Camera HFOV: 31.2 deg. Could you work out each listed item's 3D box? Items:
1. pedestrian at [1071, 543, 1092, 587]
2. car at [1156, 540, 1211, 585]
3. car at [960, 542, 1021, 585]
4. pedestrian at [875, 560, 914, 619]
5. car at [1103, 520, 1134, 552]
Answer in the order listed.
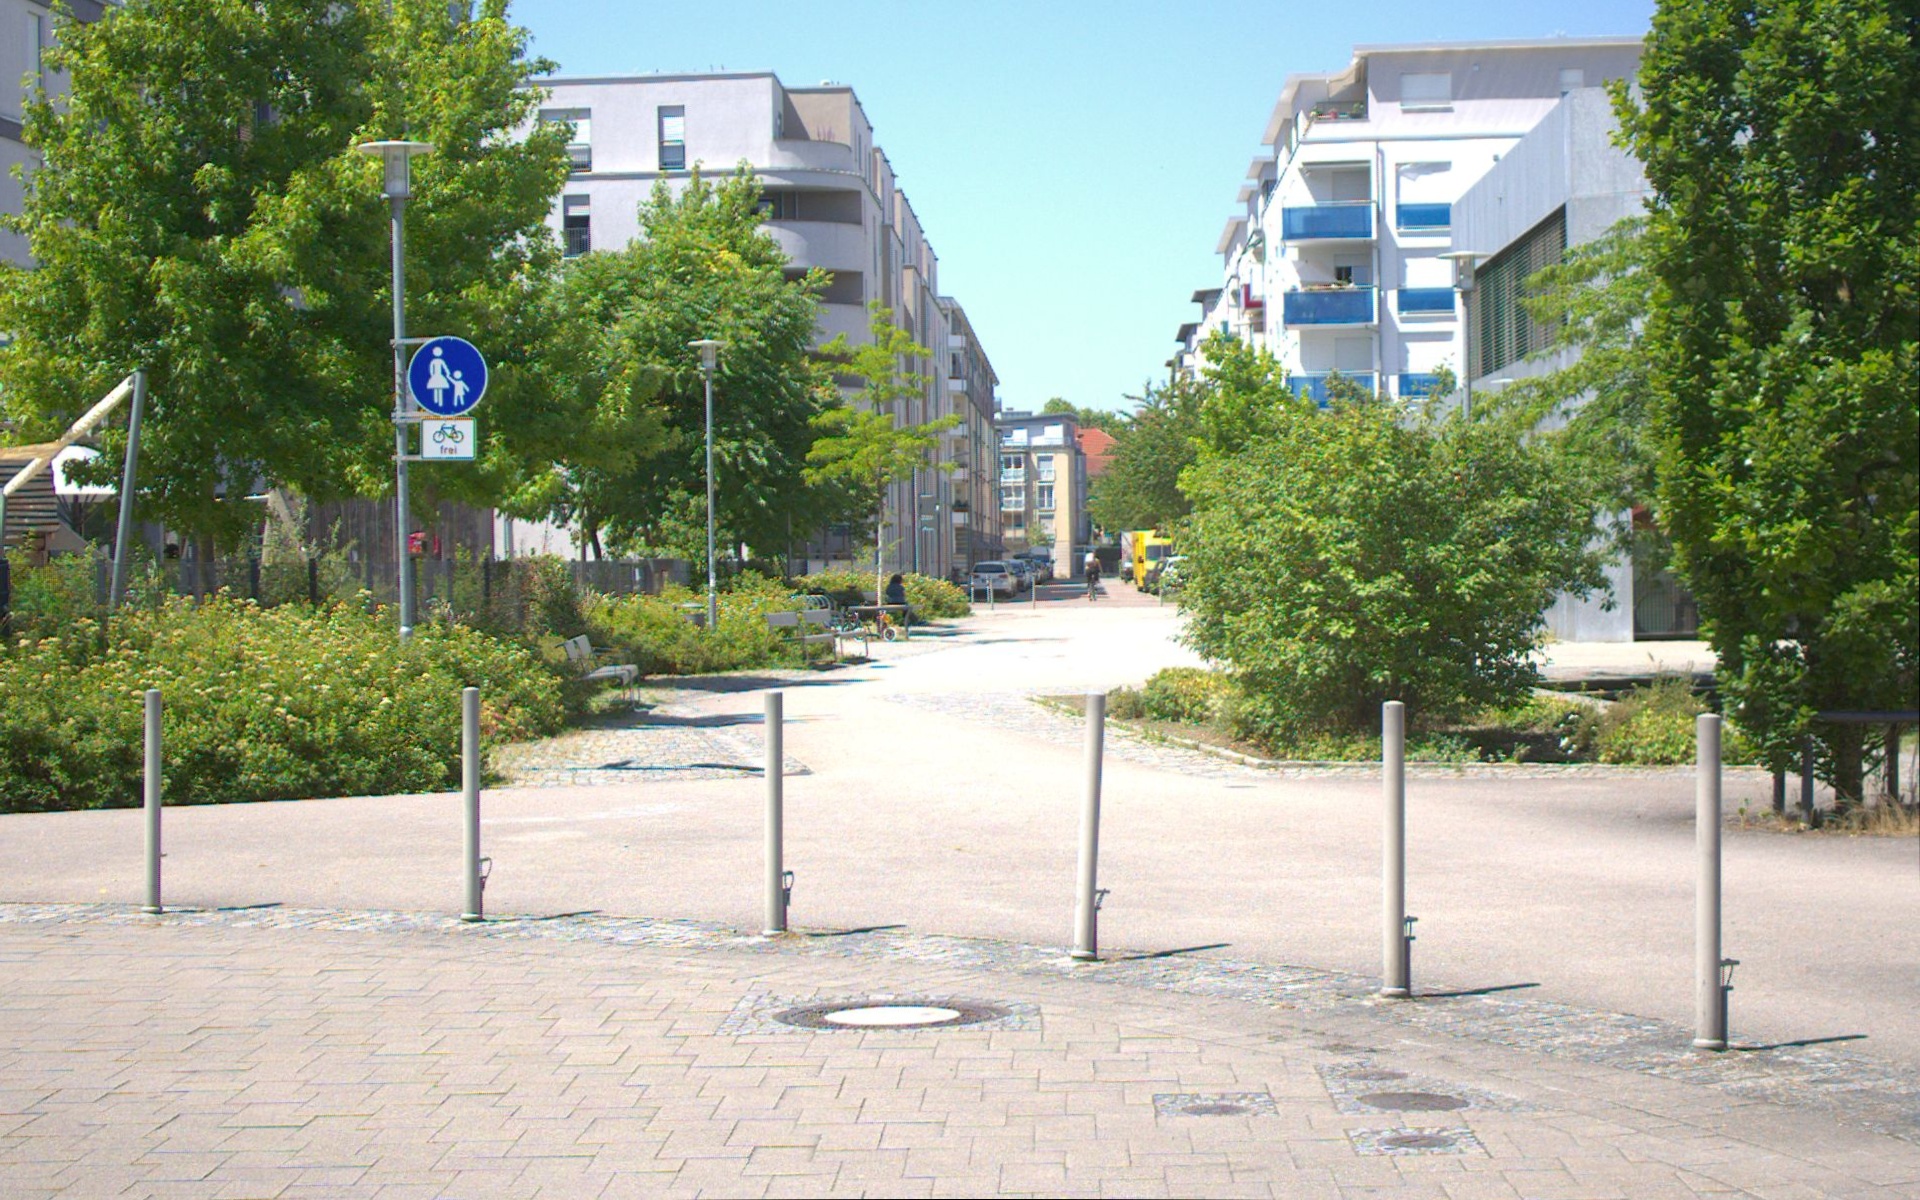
[{"bbox_3d":[4.201,-1.212,119.003,0.694,1.524,0.599,-1,1,5],"label":"pedestrian"},{"bbox_3d":[8.262,-1.387,126.744,1.994,1.604,3.999,-1,0,4],"label":"car"},{"bbox_3d":[1.226,-1.434,135.754,2.146,1.646,4.088,-1,0,4],"label":"car"},{"bbox_3d":[-1.499,-0.241,78.948,0.847,1.343,0.696,0,1,3],"label":"pedestrian"},{"bbox_3d":[10.232,-4.125,222.081,1.993,2.007,4.000,-1,0,2],"label":"car"}]
